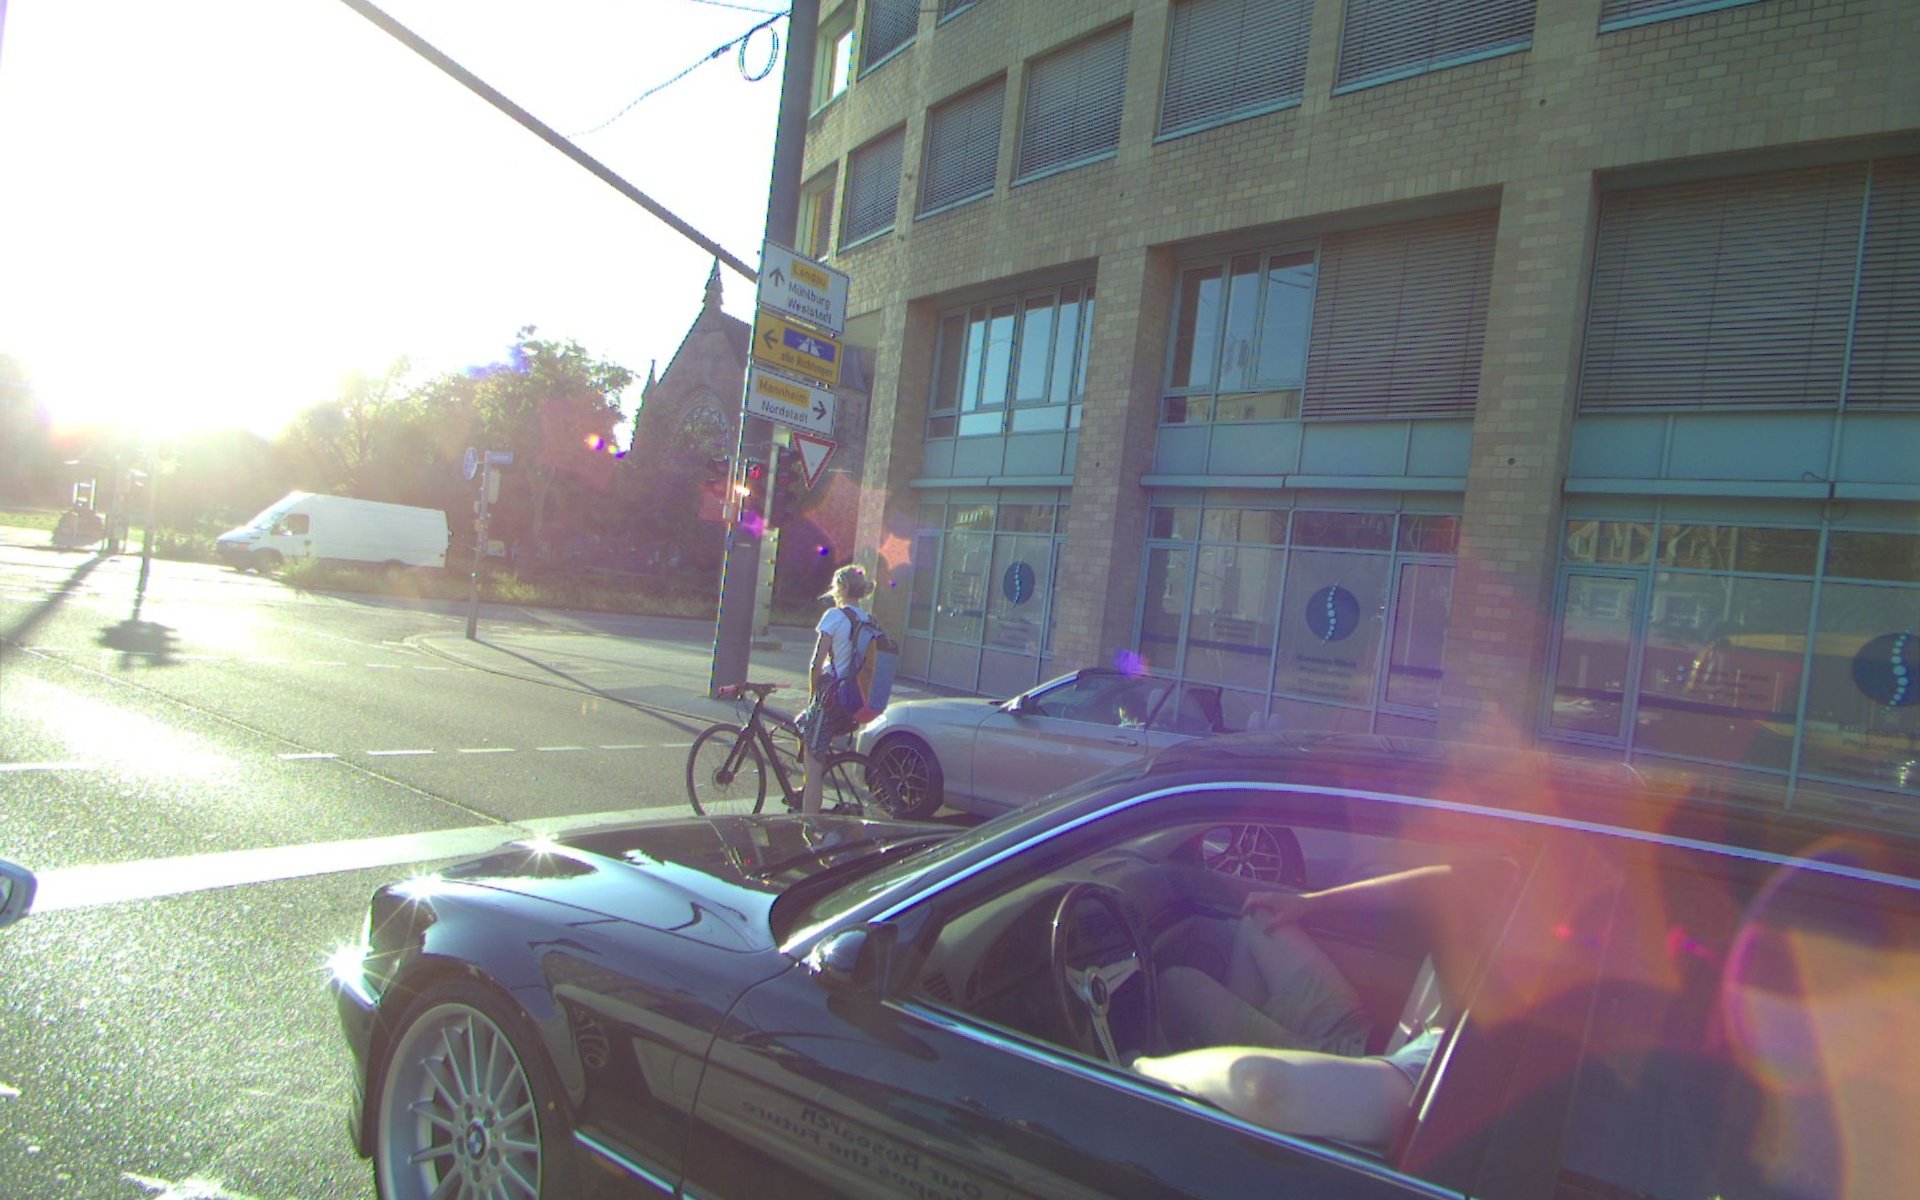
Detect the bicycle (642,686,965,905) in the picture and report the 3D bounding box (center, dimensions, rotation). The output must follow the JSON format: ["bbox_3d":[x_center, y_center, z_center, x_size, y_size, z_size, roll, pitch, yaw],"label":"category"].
[{"bbox_3d":[-0.964,1.088,5.999,1.838,0.884,0.634,7,0,30],"label":"bicycle"}]

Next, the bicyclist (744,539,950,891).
[{"bbox_3d":[-0.652,0.629,5.845,0.764,1.843,0.634,7,1,30],"label":"bicyclist"}]

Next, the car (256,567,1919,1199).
[{"bbox_3d":[0.892,0.944,2.003,4.661,1.402,1.997,7,-1,32],"label":"car"}]

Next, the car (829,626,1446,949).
[{"bbox_3d":[1.237,1.192,7.661,4.158,1.401,1.746,7,-1,32],"label":"car"}]

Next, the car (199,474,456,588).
[{"bbox_3d":[-21.317,-2.218,34.381,2.059,2.862,7.017,7,0,33],"label":"car"}]
